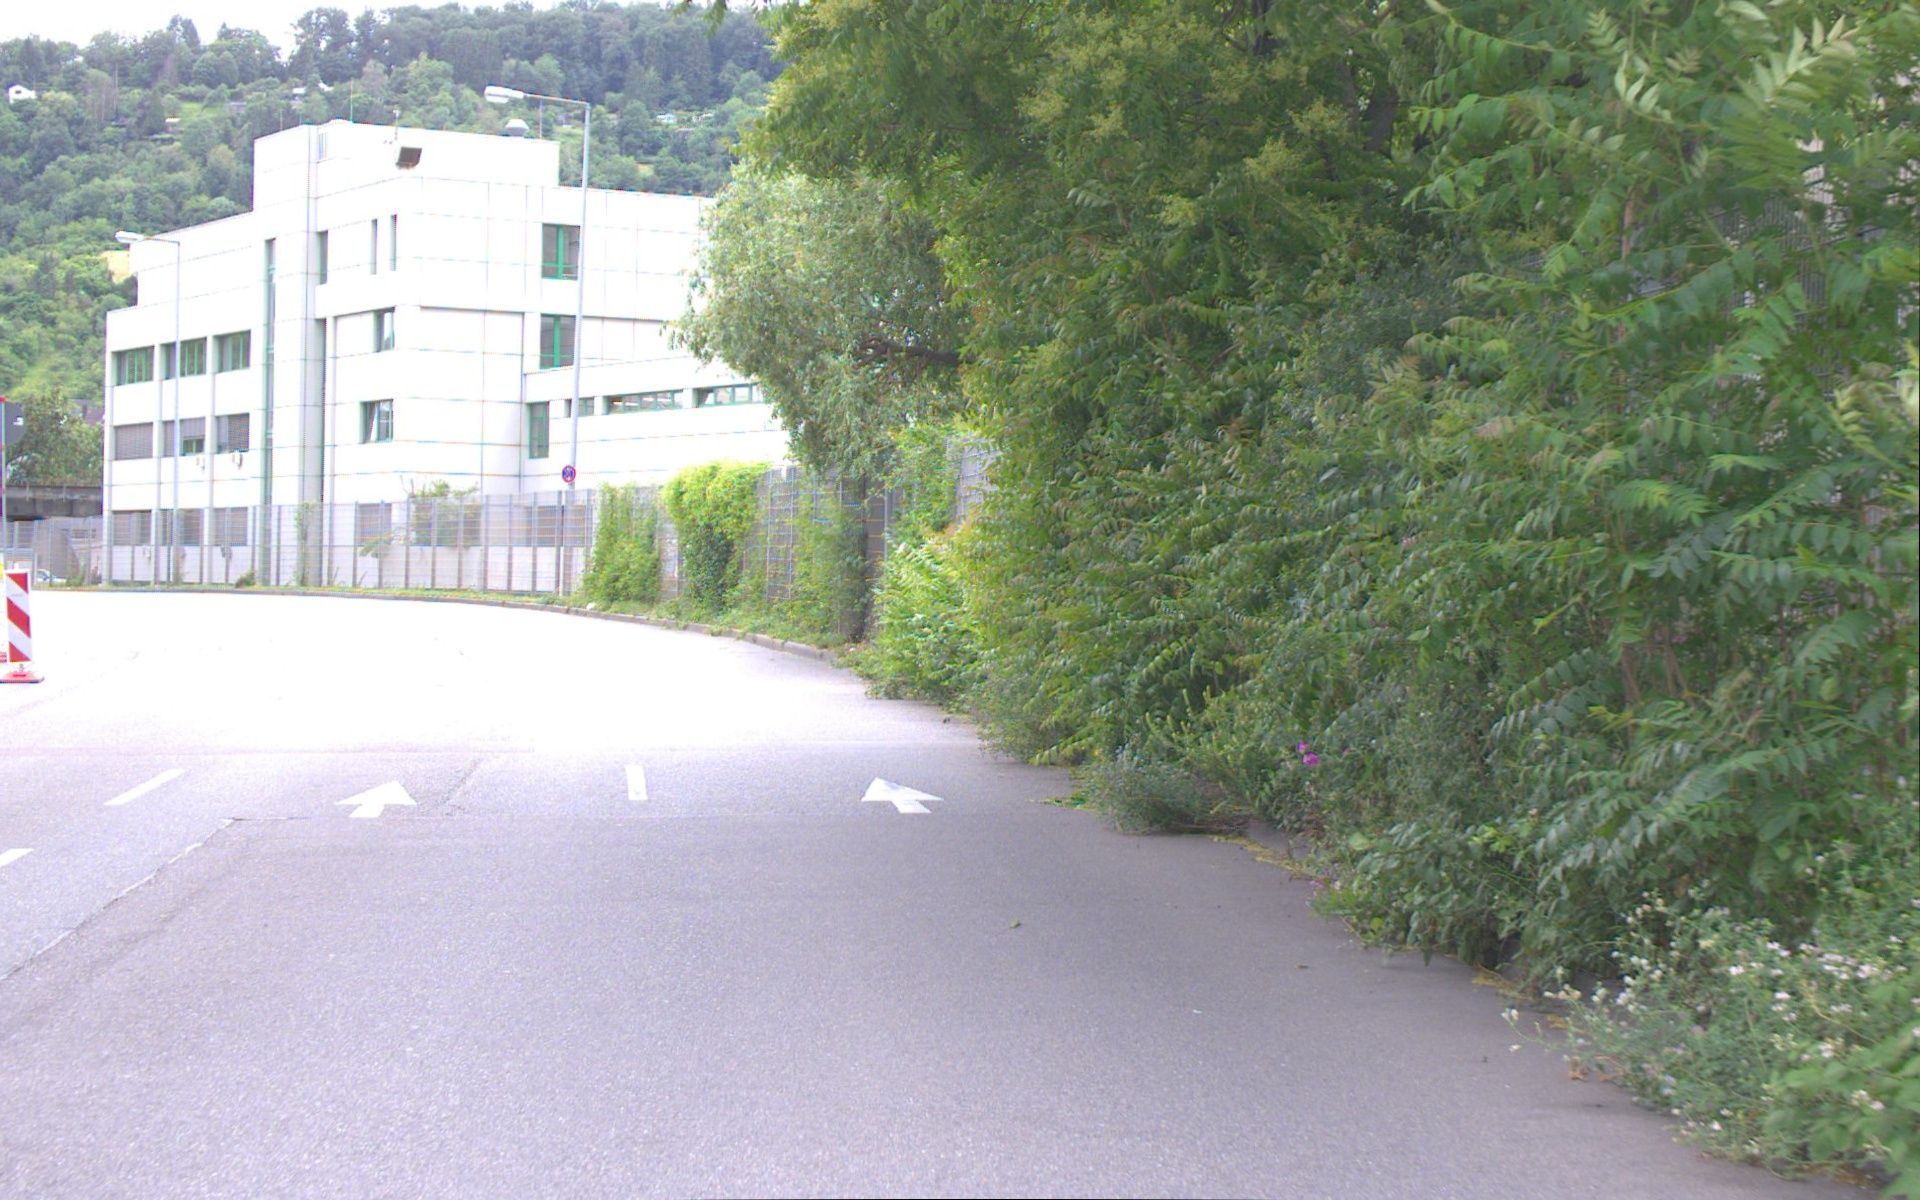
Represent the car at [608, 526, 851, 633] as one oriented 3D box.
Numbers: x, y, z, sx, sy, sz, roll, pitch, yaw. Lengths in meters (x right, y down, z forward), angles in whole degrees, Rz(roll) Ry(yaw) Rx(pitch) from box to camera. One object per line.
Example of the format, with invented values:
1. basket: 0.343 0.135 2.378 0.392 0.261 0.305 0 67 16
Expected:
1. car: -5.650 -0.515 83.604 6.165 2.255 1.995 4 1 41
